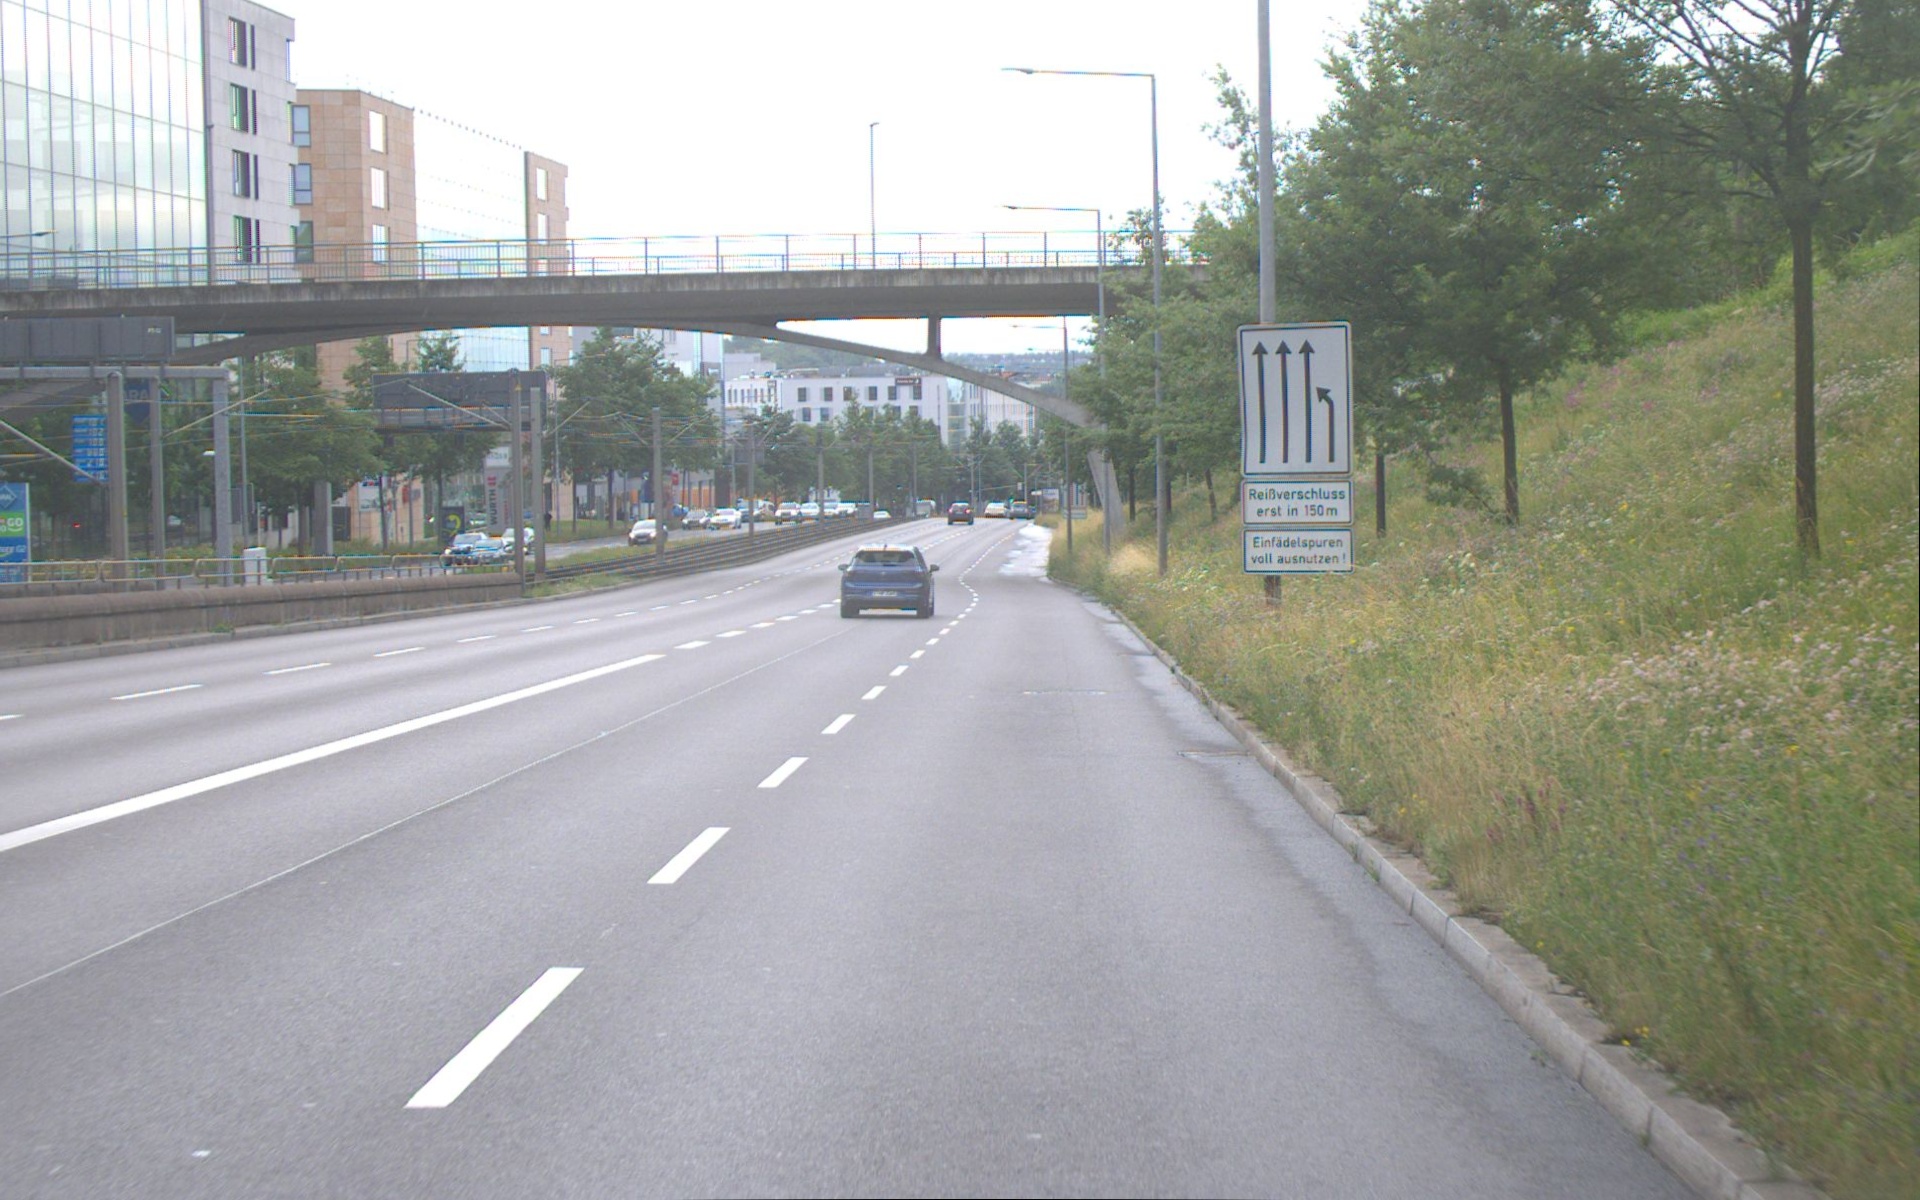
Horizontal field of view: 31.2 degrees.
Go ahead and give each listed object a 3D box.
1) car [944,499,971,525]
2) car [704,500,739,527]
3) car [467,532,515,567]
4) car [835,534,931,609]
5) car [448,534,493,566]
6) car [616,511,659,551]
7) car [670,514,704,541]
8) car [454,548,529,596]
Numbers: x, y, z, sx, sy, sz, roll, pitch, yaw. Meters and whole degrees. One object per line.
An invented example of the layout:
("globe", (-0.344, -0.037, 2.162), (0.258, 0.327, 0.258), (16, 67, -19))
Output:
("car", (-0.196, -6.530, 254.218), (1.862, 1.743, 4.001), (1, 4, -2))
("car", (-17.245, -6.244, 248.913), (1.994, 1.729, 4.248), (1, 4, 2))
("car", (-20.117, -2.169, 147.500), (1.517, 1.415, 3.478), (0, 2, 1))
("car", (-1.519, -0.592, 68.756), (1.749, 1.415, 3.478), (-1, 1, 1))
("car", (-22.538, -2.300, 158.315), (1.517, 1.415, 3.478), (0, 2, 1))
("car", (-18.171, -3.915, 193.944), (1.993, 2.006, 4.001), (1, 4, 0))
("car", (-20.094, -5.366, 253.051), (1.994, 1.729, 4.248), (1, 4, 2))
("car", (-14.502, -0.881, 106.480), (1.749, 1.415, 3.478), (1, 1, 1))
